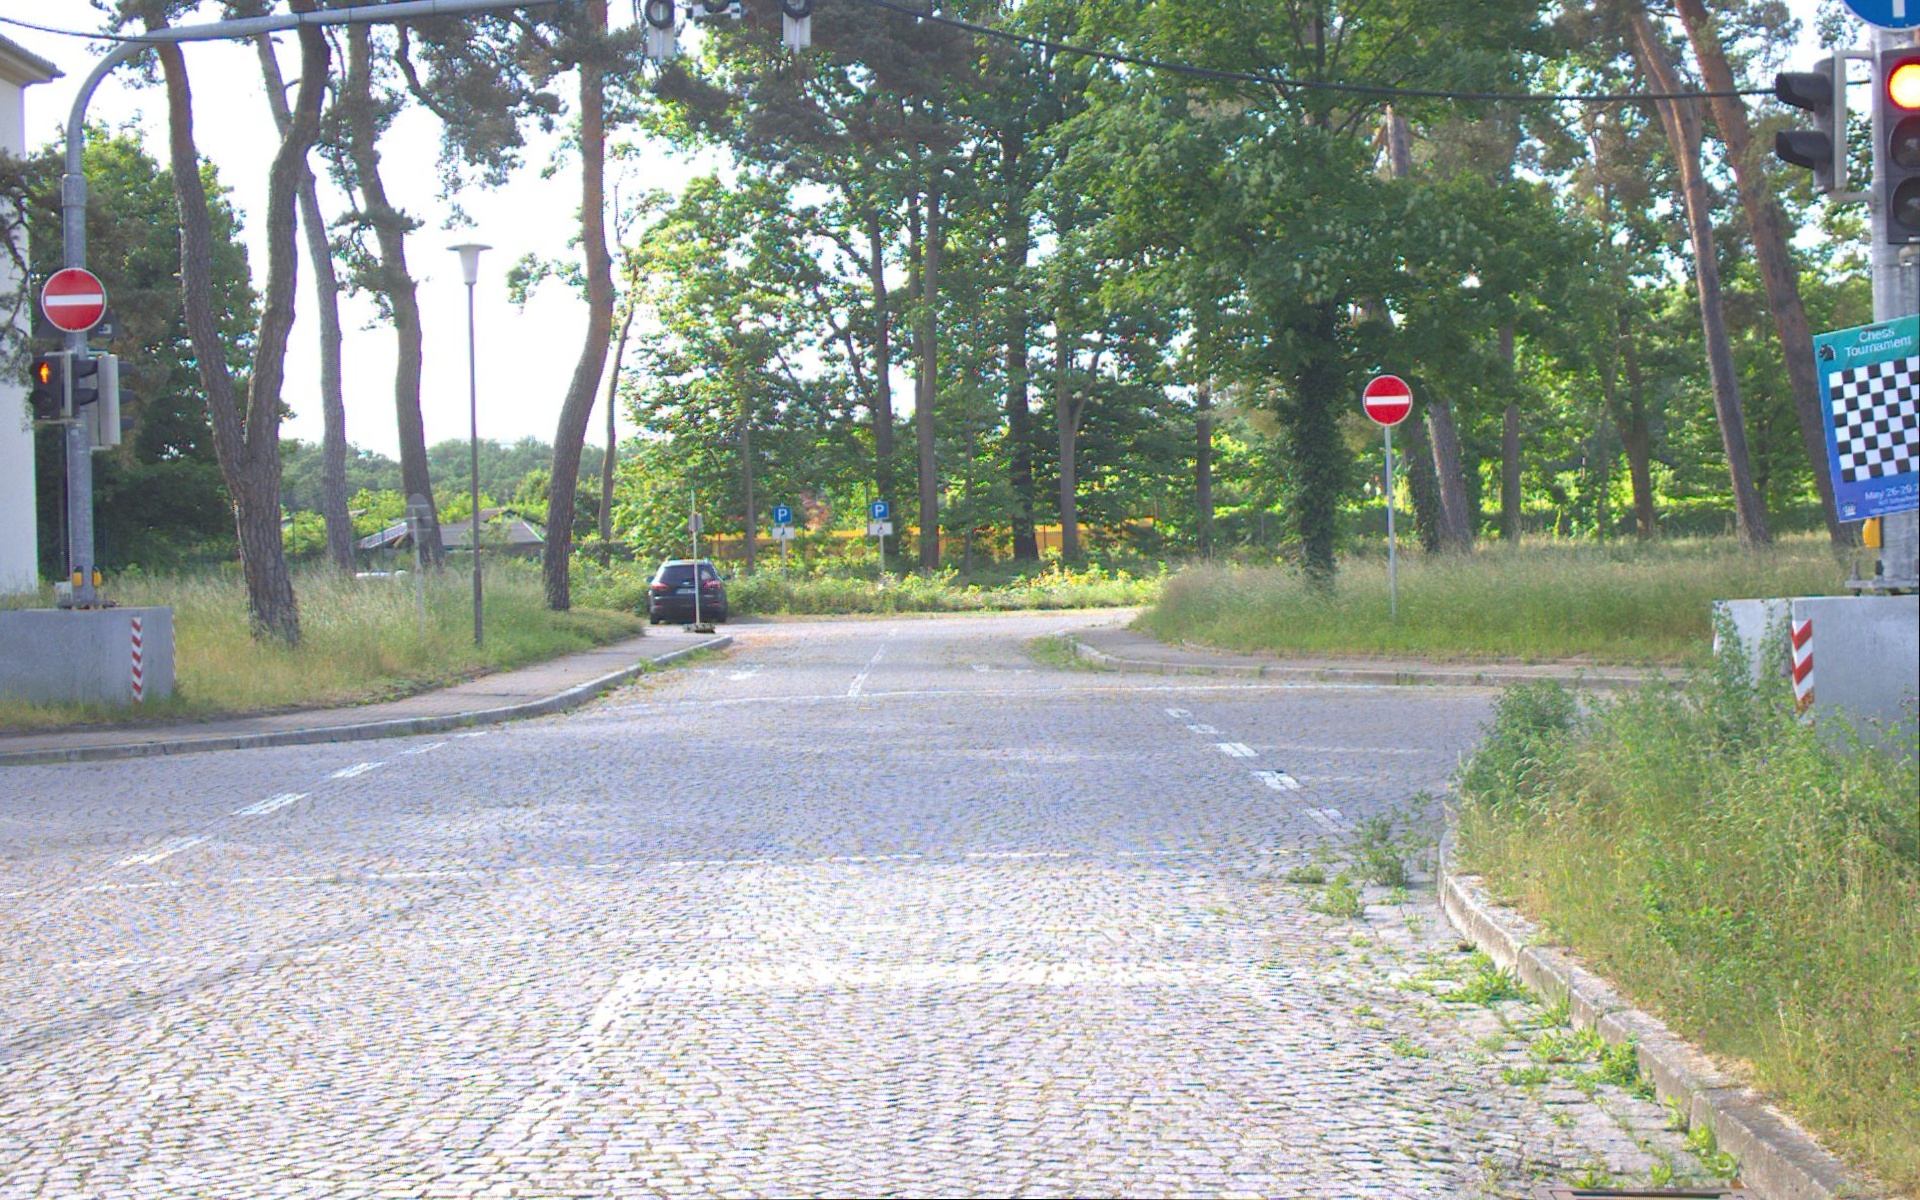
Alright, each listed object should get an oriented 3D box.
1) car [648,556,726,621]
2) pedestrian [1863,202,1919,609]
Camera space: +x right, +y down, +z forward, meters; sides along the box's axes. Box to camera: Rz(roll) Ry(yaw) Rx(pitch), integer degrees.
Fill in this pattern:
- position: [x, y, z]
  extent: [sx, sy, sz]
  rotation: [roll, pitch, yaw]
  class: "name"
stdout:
- position: [-6.587, -0.296, 83.186]
  extent: [1.709, 1.491, 3.919]
  rotation: [-2, 1, -3]
  class: "car"
- position: [4.808, -0.886, 15.453]
  extent: [1.170, 1.790, 1.061]
  rotation: [-2, 1, 29]
  class: "pedestrian"
